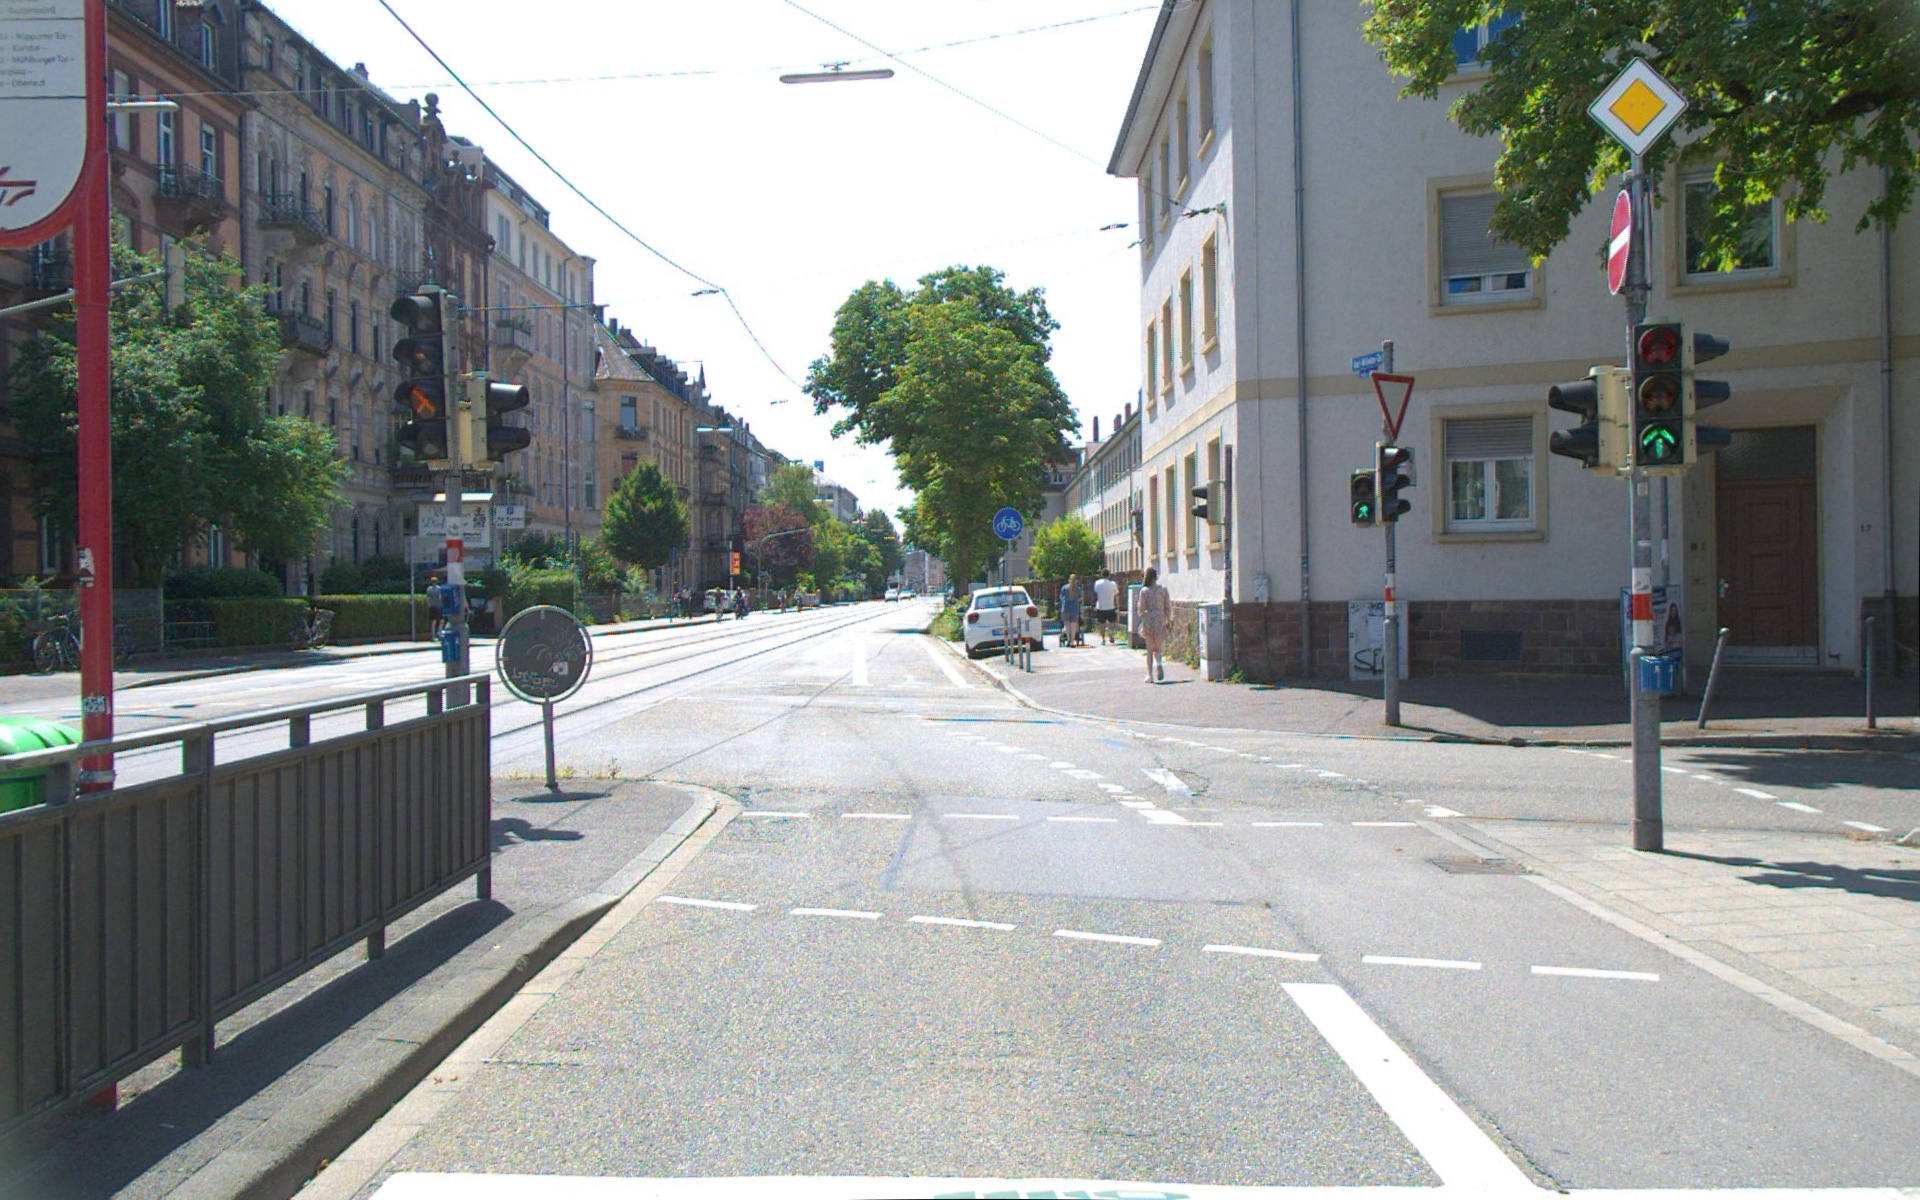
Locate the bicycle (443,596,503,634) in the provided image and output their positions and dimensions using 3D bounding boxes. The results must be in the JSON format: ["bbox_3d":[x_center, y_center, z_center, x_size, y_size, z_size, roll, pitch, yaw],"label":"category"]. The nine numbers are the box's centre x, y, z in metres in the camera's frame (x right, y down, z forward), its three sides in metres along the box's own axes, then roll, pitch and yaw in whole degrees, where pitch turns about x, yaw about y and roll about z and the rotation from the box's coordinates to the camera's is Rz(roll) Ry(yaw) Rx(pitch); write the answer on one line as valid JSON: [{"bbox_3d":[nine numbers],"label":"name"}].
[{"bbox_3d":[-16.340,0.506,55.490,1.833,1.249,0.568,1,0,-3],"label":"bicycle"}]

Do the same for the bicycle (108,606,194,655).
[{"bbox_3d":[-17.528,0.657,35.845,1.612,1.013,0.495,-1,0,1],"label":"bicycle"}]

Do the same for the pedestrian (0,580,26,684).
[{"bbox_3d":[-16.469,0.538,27.836,0.853,1.730,1.014,-1,0,6],"label":"pedestrian"}]

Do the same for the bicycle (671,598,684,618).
[{"bbox_3d":[-15.242,0.427,89.355,0.430,1.000,1.710,-1,0,-2],"label":"bicycle"}]

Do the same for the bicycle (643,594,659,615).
[{"bbox_3d":[-15.335,0.206,82.168,0.486,1.004,1.710,3,0,-2],"label":"bicycle"}]

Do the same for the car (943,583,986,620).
[{"bbox_3d":[0.156,0.045,71.091,1.623,1.541,3.998,-1,1,-3],"label":"car"}]

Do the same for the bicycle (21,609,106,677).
[{"bbox_3d":[-16.711,0.783,30.872,0.561,1.189,1.716,-1,0,3],"label":"bicycle"}]

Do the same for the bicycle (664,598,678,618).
[{"bbox_3d":[-15.255,0.418,87.313,0.430,1.000,1.710,-1,0,-2],"label":"bicycle"}]

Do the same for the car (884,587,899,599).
[{"bbox_3d":[-8.775,-0.850,211.953,1.650,1.475,4.000,-1,1,0],"label":"car"}]

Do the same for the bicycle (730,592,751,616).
[{"bbox_3d":[-12.025,0.201,90.595,0.791,1.293,2.551,-1,0,1],"label":"bicycle"}]

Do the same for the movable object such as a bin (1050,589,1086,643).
[{"bbox_3d":[2.527,0.374,38.705,0.683,1.206,1.036,-4,0,-1],"label":"movable object such as a bin"}]

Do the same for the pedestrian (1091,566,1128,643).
[{"bbox_3d":[3.435,0.097,38.105,0.683,1.698,0.756,-4,0,-1],"label":"pedestrian"}]

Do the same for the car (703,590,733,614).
[{"bbox_3d":[-16.845,0.117,115.392,1.829,1.628,4.097,0,0,-5],"label":"car"}]

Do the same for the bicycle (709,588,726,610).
[{"bbox_3d":[-11.907,-0.078,81.273,0.556,1.056,1.829,-1,0,1],"label":"bicycle"}]

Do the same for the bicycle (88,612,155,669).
[{"bbox_3d":[-16.729,0.796,33.027,0.449,1.074,1.565,-1,0,3],"label":"bicycle"}]

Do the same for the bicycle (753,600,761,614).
[{"bbox_3d":[-15.255,0.514,124.458,0.445,1.021,1.805,-1,0,-3],"label":"bicycle"}]

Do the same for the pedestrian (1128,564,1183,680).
[{"bbox_3d":[2.911,0.318,24.666,0.683,1.699,0.756,-1,0,-2],"label":"pedestrian"}]

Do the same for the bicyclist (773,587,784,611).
[{"bbox_3d":[-12.631,-0.060,115.079,0.621,1.612,1.028,-2,0,0],"label":"bicyclist"}]

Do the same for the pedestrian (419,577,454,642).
[{"bbox_3d":[-15.448,0.276,48.856,0.798,1.889,0.877,-1,0,-6],"label":"pedestrian"}]

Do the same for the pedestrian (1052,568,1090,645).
[{"bbox_3d":[2.528,0.140,37.749,0.683,1.698,0.869,-4,0,-1],"label":"pedestrian"}]

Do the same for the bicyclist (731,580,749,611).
[{"bbox_3d":[-12.039,-0.249,90.560,0.791,1.658,0.980,-1,0,0],"label":"bicyclist"}]

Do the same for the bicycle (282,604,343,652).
[{"bbox_3d":[-15.893,0.668,40.633,0.625,1.112,1.932,1,1,3],"label":"bicycle"}]

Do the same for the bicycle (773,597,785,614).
[{"bbox_3d":[-12.610,0.387,115.122,0.616,1.097,1.875,-2,0,0],"label":"bicycle"}]

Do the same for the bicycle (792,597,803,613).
[{"bbox_3d":[-11.344,0.350,115.316,0.569,1.097,1.890,-2,0,0],"label":"bicycle"}]

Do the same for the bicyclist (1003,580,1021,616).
[{"bbox_3d":[2.168,-0.096,68.764,0.696,1.477,1.010,-1,0,2],"label":"bicyclist"}]

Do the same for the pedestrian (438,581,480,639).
[{"bbox_3d":[-15.078,0.304,49.782,0.893,1.730,0.820,-1,0,38],"label":"pedestrian"}]

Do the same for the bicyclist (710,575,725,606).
[{"bbox_3d":[-11.911,-0.472,81.240,0.551,1.542,0.892,-1,0,0],"label":"bicyclist"}]

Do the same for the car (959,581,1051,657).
[{"bbox_3d":[0.957,0.383,37.151,1.742,1.434,4.155,-5,1,-1],"label":"car"}]

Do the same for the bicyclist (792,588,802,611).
[{"bbox_3d":[-11.363,-0.065,115.333,0.580,1.571,0.952,-2,0,0],"label":"bicyclist"}]
